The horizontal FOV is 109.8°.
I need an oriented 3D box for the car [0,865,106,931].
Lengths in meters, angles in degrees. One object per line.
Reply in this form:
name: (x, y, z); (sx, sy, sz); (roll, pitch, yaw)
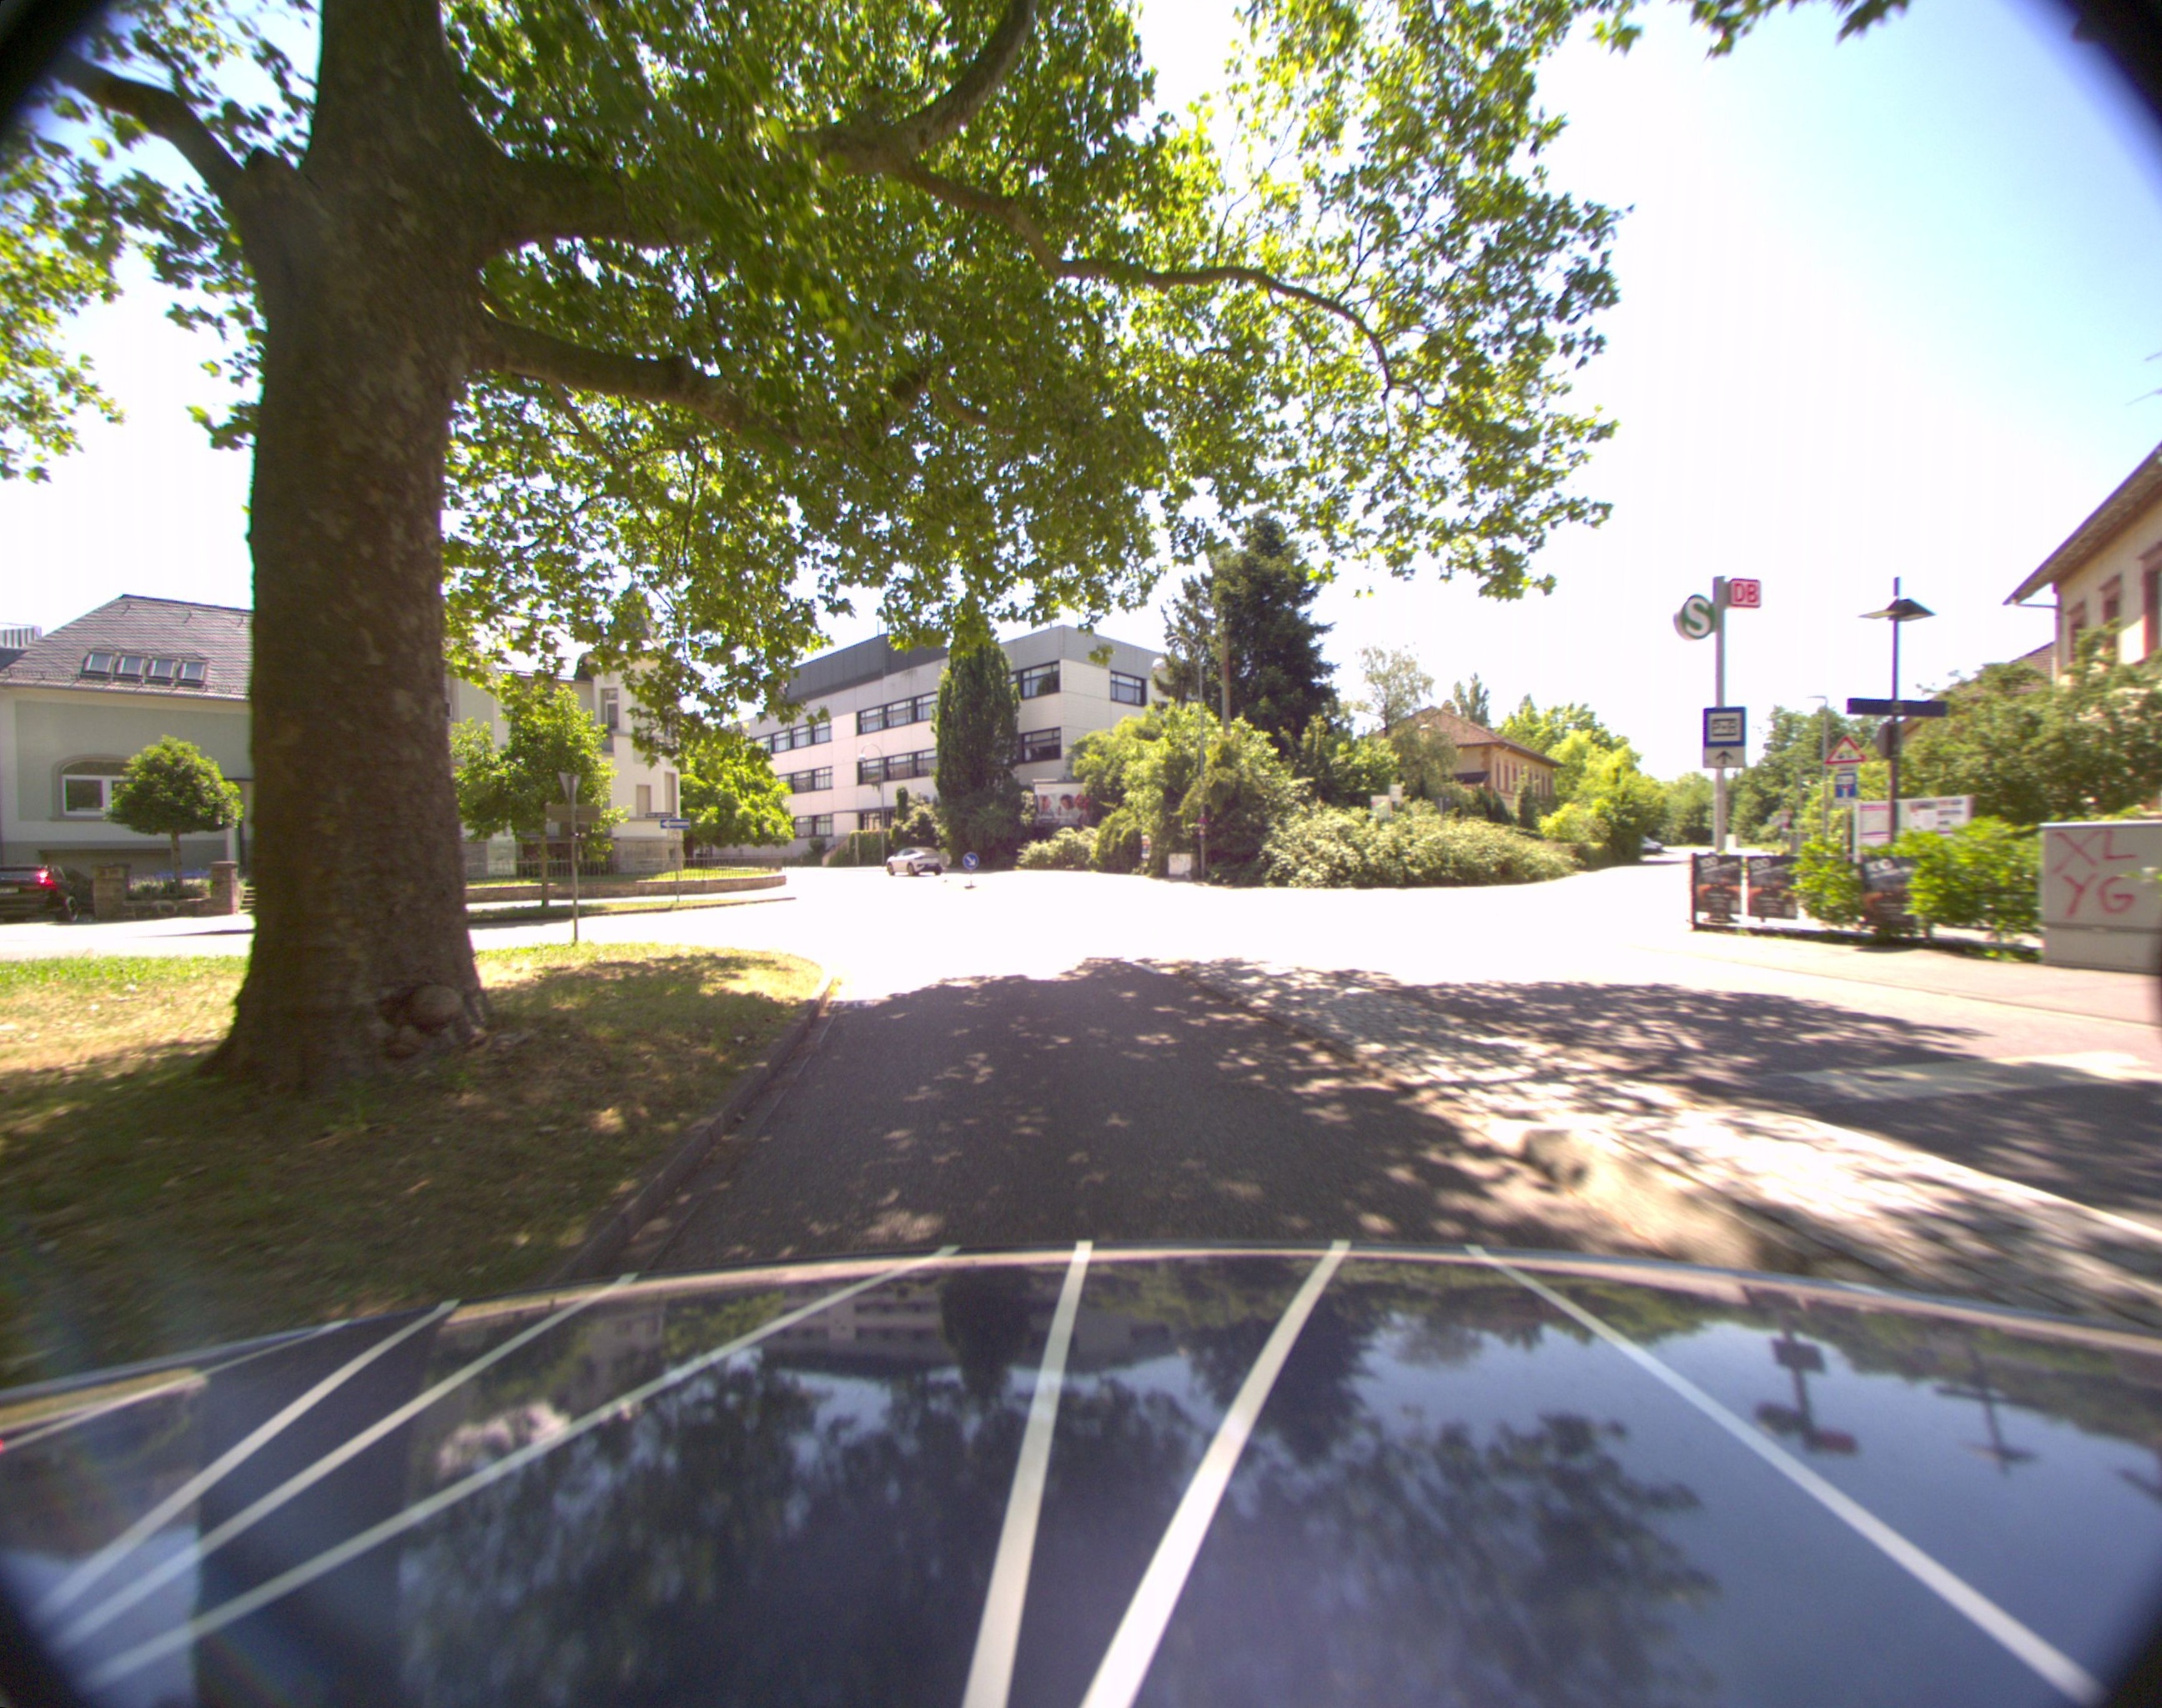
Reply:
car: (-29.275, 1.188, 21.135); (2.003, 1.559, 3.988); (-4, 3, -44)

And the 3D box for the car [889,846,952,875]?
car: (-9.308, 0.374, 43.756); (1.854, 1.521, 4.327); (-2, 1, -37)
